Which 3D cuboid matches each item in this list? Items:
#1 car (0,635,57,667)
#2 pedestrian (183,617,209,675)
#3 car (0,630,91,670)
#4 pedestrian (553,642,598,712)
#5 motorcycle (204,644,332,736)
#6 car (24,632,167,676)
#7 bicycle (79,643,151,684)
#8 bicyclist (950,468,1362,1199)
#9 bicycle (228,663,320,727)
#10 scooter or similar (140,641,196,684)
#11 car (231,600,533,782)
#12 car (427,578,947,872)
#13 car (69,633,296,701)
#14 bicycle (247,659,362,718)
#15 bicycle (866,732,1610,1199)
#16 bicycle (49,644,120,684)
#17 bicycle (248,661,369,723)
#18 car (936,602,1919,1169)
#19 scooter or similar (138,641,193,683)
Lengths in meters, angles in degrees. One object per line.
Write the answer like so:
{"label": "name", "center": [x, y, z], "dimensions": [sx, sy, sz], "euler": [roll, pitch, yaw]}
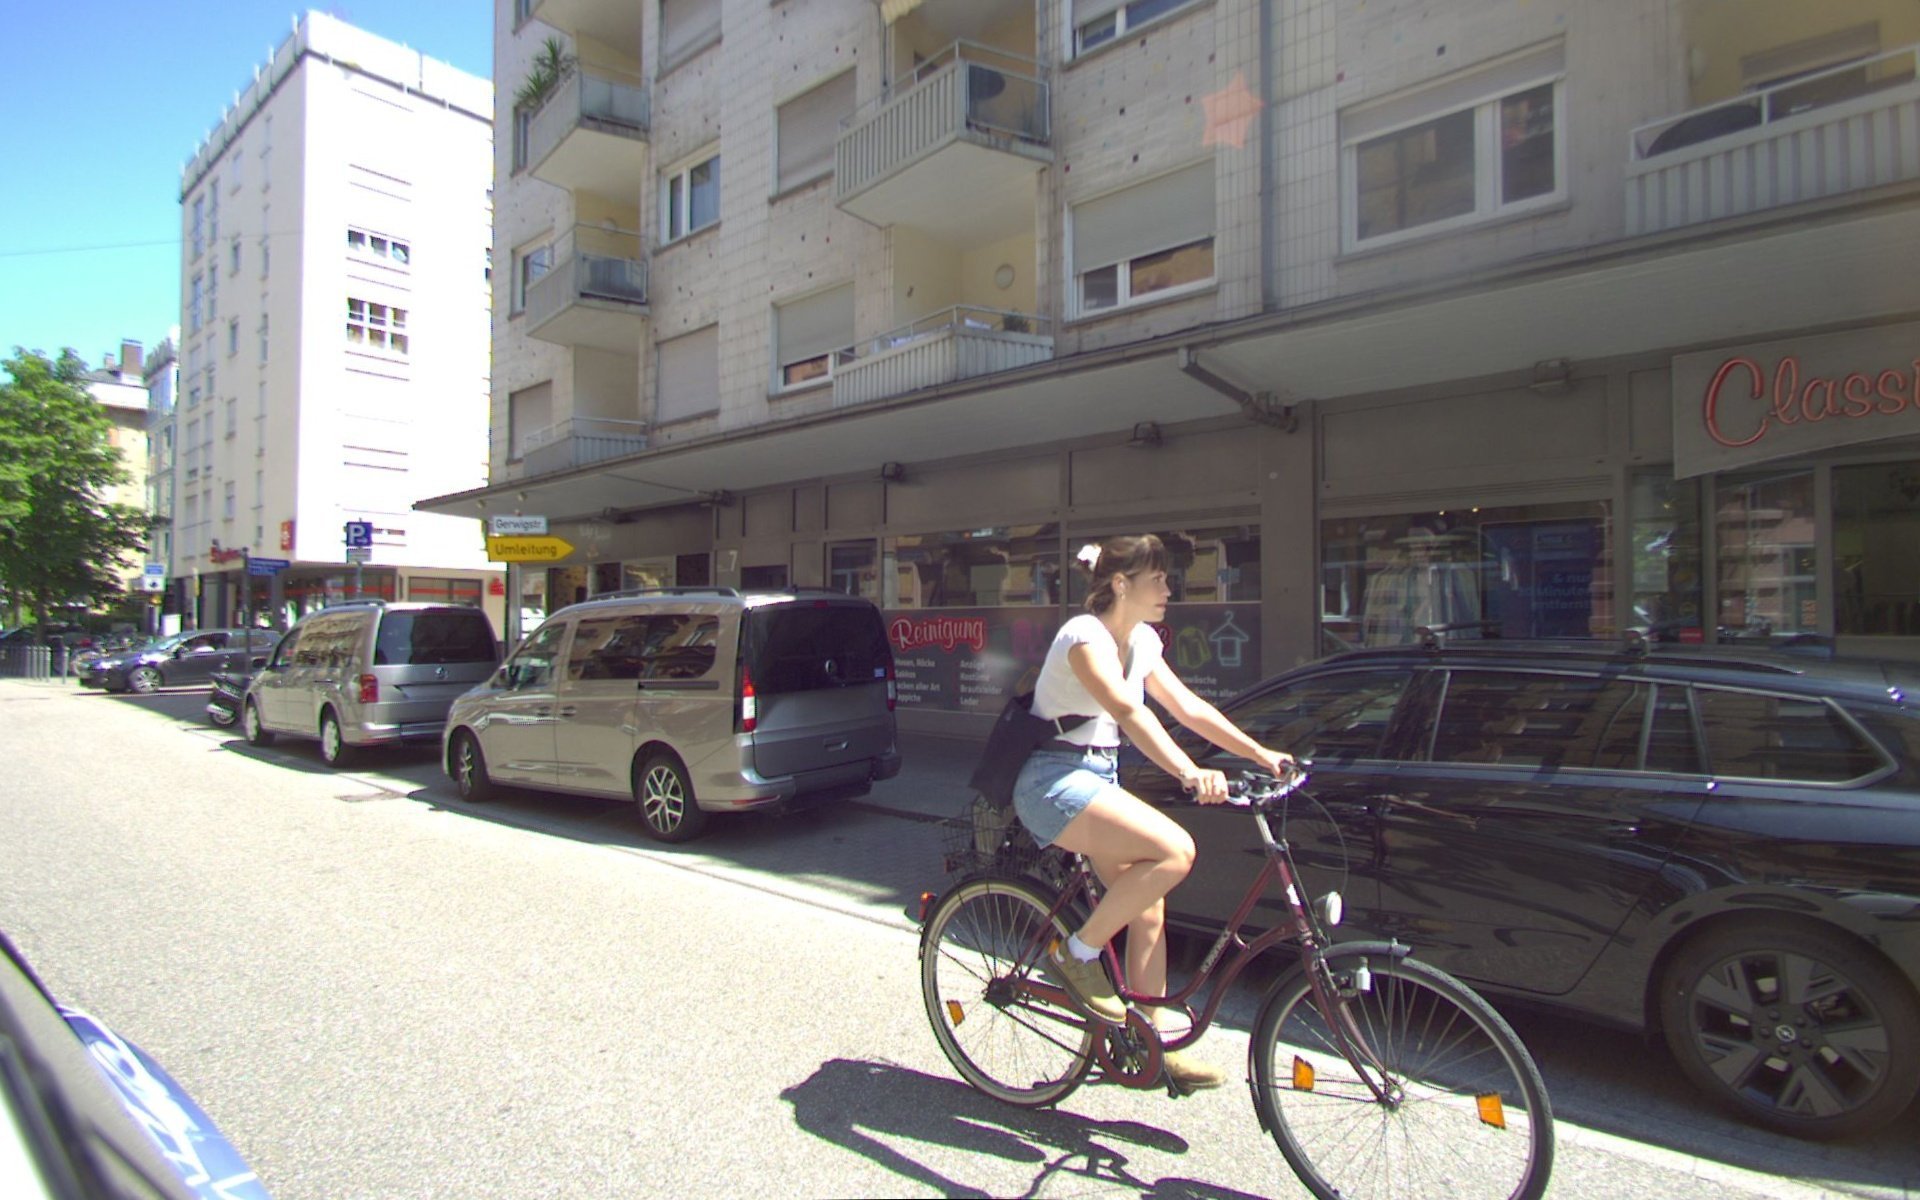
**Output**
{"label": "car", "center": [-46.326, 2.449, 48.887], "dimensions": [1.651, 1.507, 3.835], "euler": [-2, -3, 40]}
{"label": "pedestrian", "center": [-28.642, 1.722, 37.958], "dimensions": [0.599, 2.141, 0.496], "euler": [0, -2, -13]}
{"label": "car", "center": [-41.864, 2.225, 45.624], "dimensions": [1.651, 1.760, 3.835], "euler": [-2, -3, 40]}
{"label": "pedestrian", "center": [-6.390, 1.266, 16.826], "dimensions": [0.504, 1.135, 0.496], "euler": [-1, -2, 21]}
{"label": "motorcycle", "center": [-10.316, 1.327, 15.126], "dimensions": [1.530, 1.293, 0.394], "euler": [-1, 0, -17]}
{"label": "car", "center": [-32.061, 1.976, 37.617], "dimensions": [1.651, 1.541, 3.835], "euler": [-2, -3, 40]}
{"label": "bicycle", "center": [-24.563, 1.831, 29.446], "dimensions": [1.586, 1.099, 0.371], "euler": [-1, -1, -44]}
{"label": "bicyclist", "center": [0.541, 0.566, 2.920], "dimensions": [0.978, 1.719, 0.616], "euler": [-2, -3, 41]}
{"label": "bicycle", "center": [-10.870, 1.502, 16.050], "dimensions": [1.194, 0.964, 0.337], "euler": [-1, -1, -6]}
{"label": "scooter or similar", "center": [-22.179, 1.750, 28.351], "dimensions": [0.289, 1.176, 1.177], "euler": [-2, -3, 39]}
{"label": "car", "center": [-7.318, 0.991, 12.565], "dimensions": [4.898, 1.843, 1.770], "euler": [-2, -2, 41]}
{"label": "car", "center": [-2.487, 0.842, 8.468], "dimensions": [4.693, 1.825, 1.771], "euler": [-2, -2, 39]}
{"label": "car", "center": [-18.003, 1.504, 23.593], "dimensions": [1.811, 1.436, 3.845], "euler": [-2, -3, 35]}
{"label": "bicycle", "center": [-11.440, 1.533, 17.694], "dimensions": [1.684, 0.964, 0.411], "euler": [-1, -1, -6]}
{"label": "bicycle", "center": [0.621, 1.004, 2.832], "dimensions": [1.939, 1.100, 0.596], "euler": [-2, -3, 41]}
{"label": "bicycle", "center": [-26.112, 1.901, 30.211], "dimensions": [1.586, 1.099, 0.371], "euler": [-1, -1, -44]}
{"label": "bicycle", "center": [-10.762, 1.515, 16.754], "dimensions": [1.684, 0.964, 0.411], "euler": [-1, -1, -6]}
{"label": "car", "center": [2.092, 0.816, 4.322], "dimensions": [4.462, 1.536, 1.652], "euler": [-2, -2, 42]}
{"label": "scooter or similar", "center": [-22.806, 1.762, 29.063], "dimensions": [0.289, 1.176, 1.177], "euler": [-2, -3, 39]}
